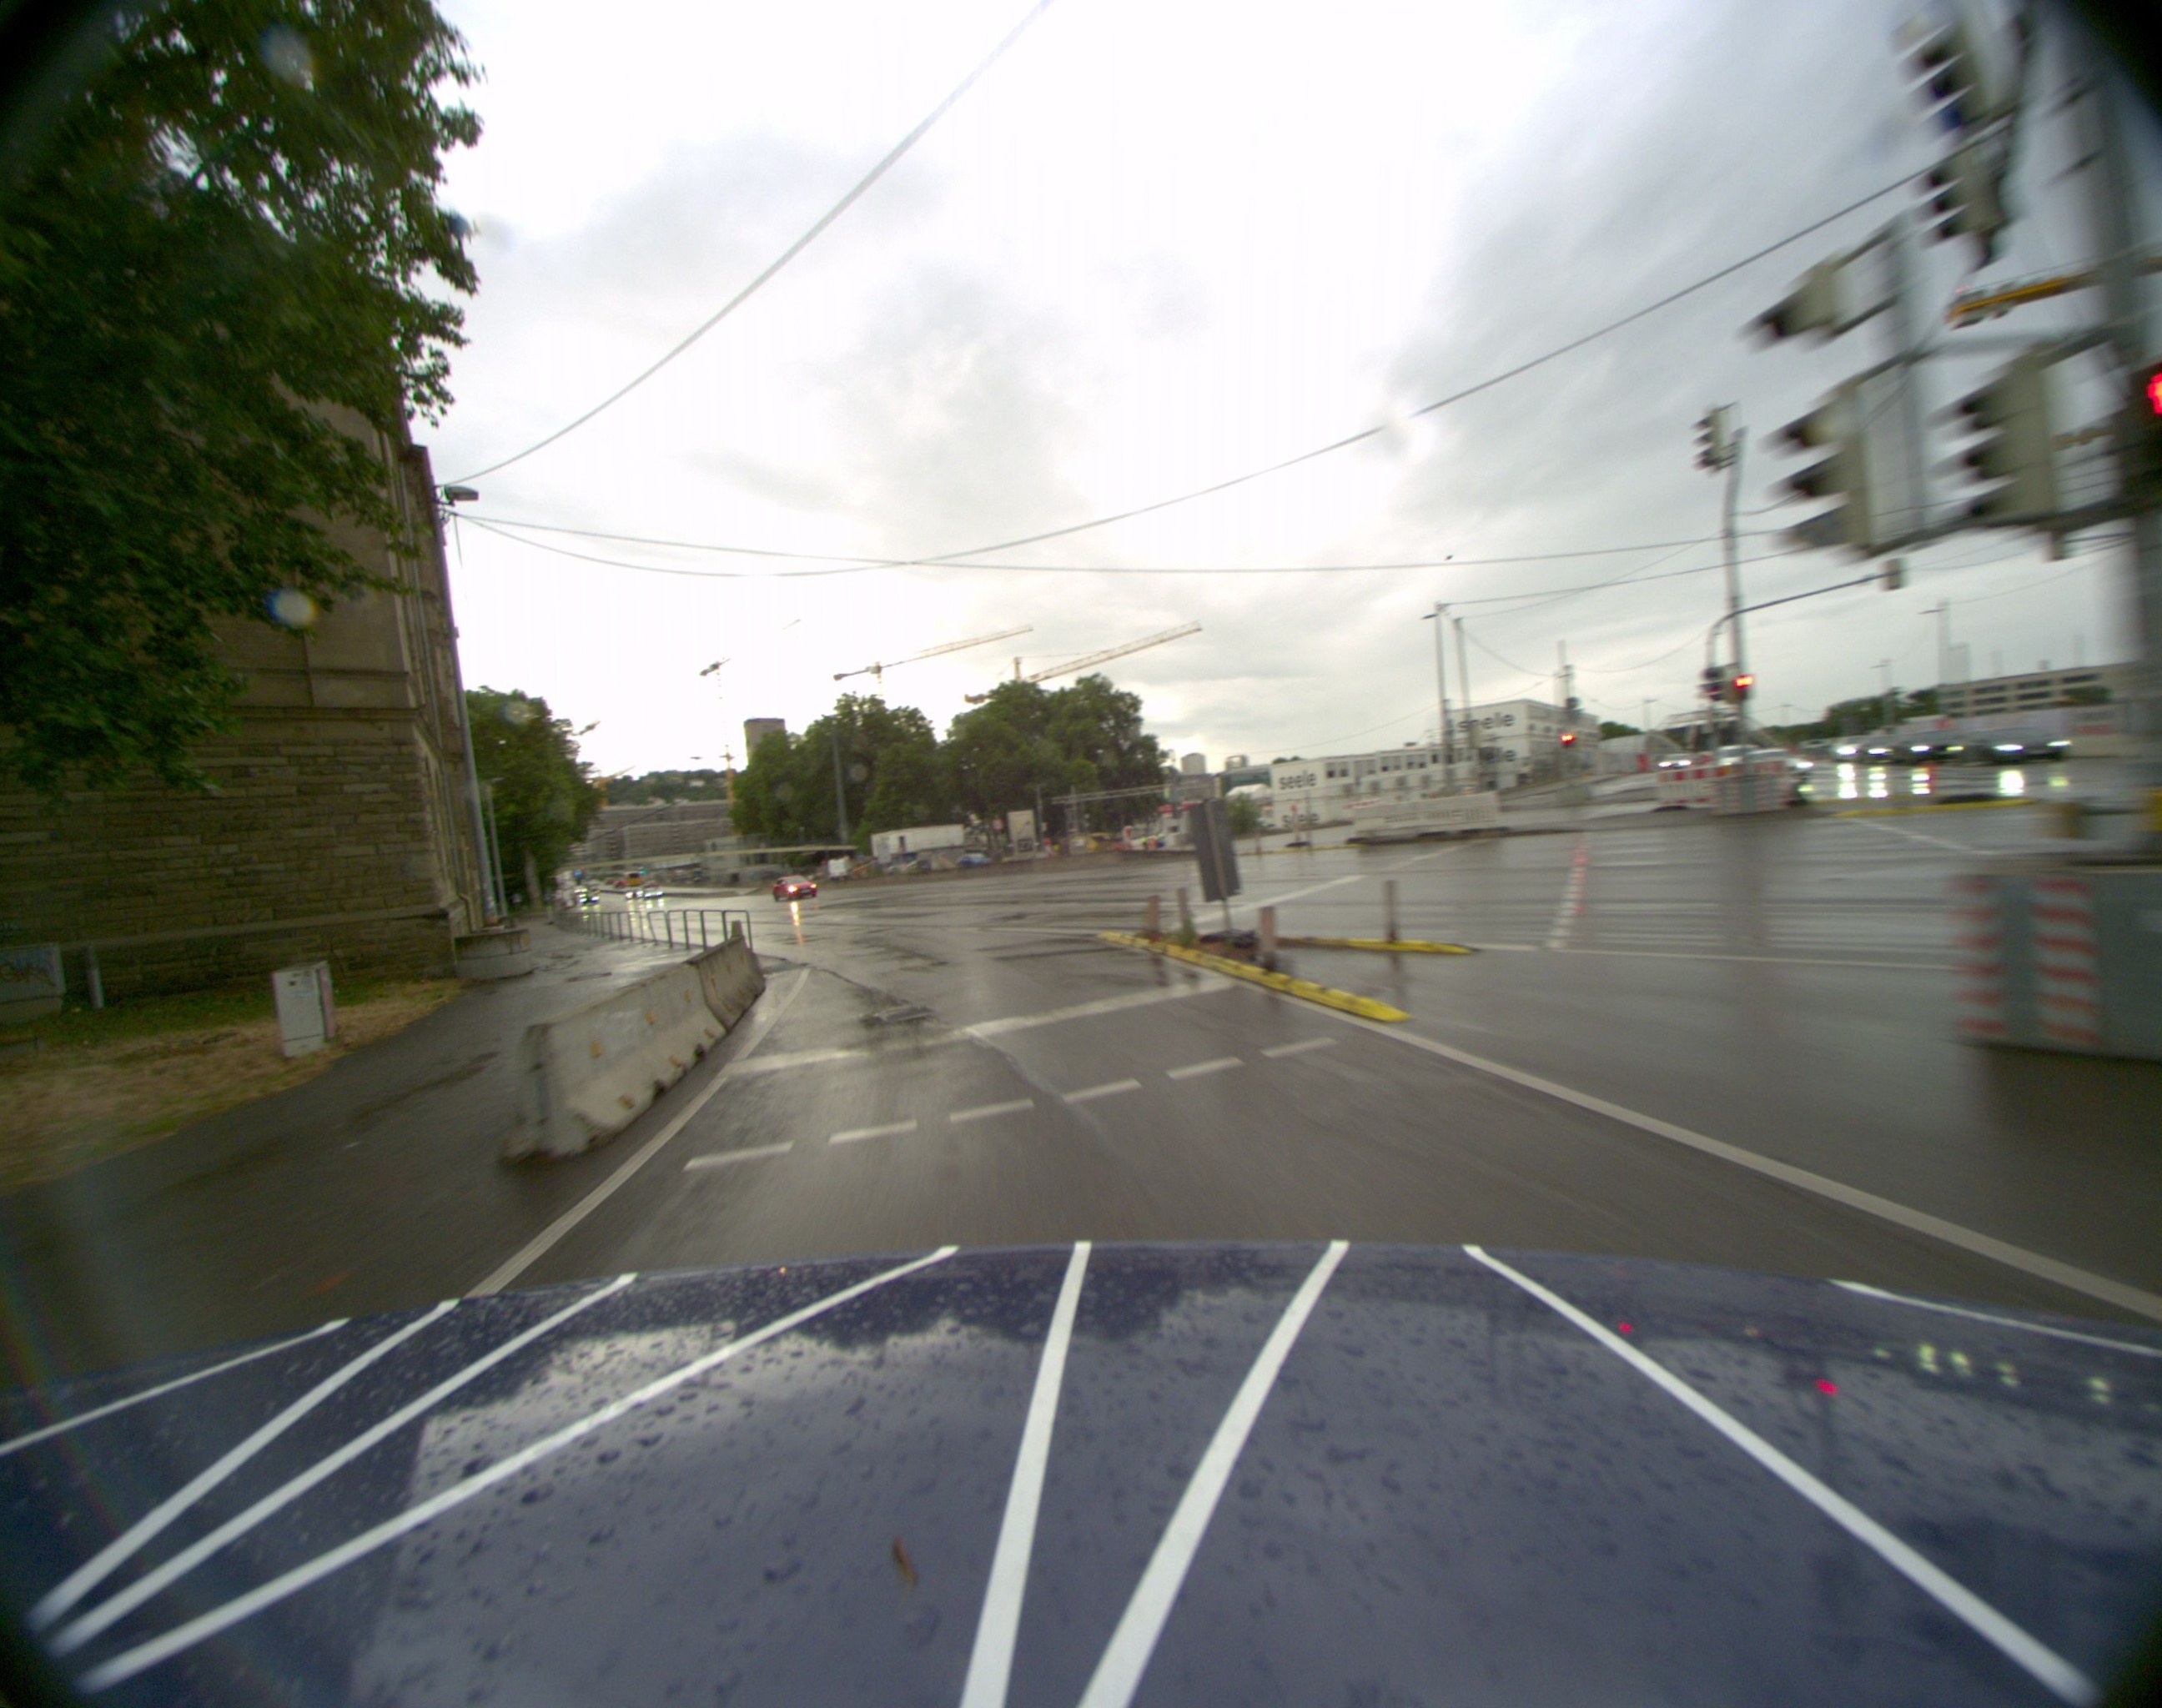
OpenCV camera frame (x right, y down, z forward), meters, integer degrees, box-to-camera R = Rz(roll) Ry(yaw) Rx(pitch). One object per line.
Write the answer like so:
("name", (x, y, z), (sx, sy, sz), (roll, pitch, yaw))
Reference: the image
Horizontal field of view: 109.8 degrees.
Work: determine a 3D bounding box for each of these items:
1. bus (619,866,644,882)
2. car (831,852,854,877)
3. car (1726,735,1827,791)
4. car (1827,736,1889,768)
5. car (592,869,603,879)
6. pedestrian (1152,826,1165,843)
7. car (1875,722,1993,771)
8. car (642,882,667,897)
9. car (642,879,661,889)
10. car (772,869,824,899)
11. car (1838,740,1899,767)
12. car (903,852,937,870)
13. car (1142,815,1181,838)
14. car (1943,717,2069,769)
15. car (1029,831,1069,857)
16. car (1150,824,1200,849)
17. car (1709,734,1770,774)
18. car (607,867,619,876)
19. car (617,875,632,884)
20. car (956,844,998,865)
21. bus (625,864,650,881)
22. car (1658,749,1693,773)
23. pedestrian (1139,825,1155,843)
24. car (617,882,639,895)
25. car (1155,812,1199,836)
("bus", (-103.640, 4.620, 175.112), (3.244, 3.040, 8.932), (-11, 4, -38))
("car", (-28.533, 1.208, 91.127), (2.081, 2.722, 4.587), (-7, 2, -14))
("car", (30.035, -3.851, 32.987), (1.996, 2.002, 4.428), (-6, 2, 27))
("car", (46.710, -6.128, 45.763), (1.995, 1.549, 4.531), (-5, 2, 39))
("car", (-122.241, 5.038, 191.938), (2.002, 2.002, 3.991), (-8, 2, -35))
("pedestrian", (6.342, -1.600, 62.057), (0.744, 1.345, 0.838), (-6, 2, 15))
("car", (38.344, -4.772, 34.326), (1.996, 1.708, 4.428), (-6, 2, 27))
("car", (-57.216, 4.773, 101.936), (1.991, 1.567, 4.429), (-8, 2, -40))
("car", (-77.586, 5.454, 137.292), (1.844, 1.567, 4.429), (-8, 2, -43))
("car", (-17.543, 1.889, 46.956), (1.693, 1.543, 3.991), (-8, 2, -39))
("car", (42.252, -5.393, 40.835), (1.646, 1.172, 4.295), (-4, 3, 38))
("car", (-16.687, 0.731, 78.668), (1.844, 1.481, 4.430), (-8, 2, -32))
("car", (9.713, -3.314, 91.609), (3.991, 2.371, 2.002), (-6, 2, 25))
("car", (35.514, -4.212, 29.299), (1.857, 1.557, 3.806), (-6, 2, 31))
("car", (-3.446, -1.017, 81.507), (2.003, 2.371, 3.991), (-8, 2, -38))
("car", (7.551, -1.414, 60.743), (1.995, 1.500, 4.005), (-6, 3, 38))
("car", (36.114, -5.450, 41.772), (1.995, 1.762, 4.363), (-6, 2, 36))
("car", (-117.019, 4.454, 189.948), (2.002, 2.002, 3.991), (-8, 2, -35))
("car", (-95.878, 5.379, 159.513), (1.844, 1.567, 4.429), (-8, 2, -40))
("car", (-9.279, 0.021, 67.523), (1.844, 1.481, 4.430), (-8, 2, -34))
("bus", (-98.240, 4.156, 168.235), (3.276, 2.925, 8.932), (-11, 4, -38))
("car", (51.218, -8.032, 65.436), (1.995, 1.762, 4.363), (-5, 2, 41))
("pedestrian", (5.357, -1.613, 61.659), (0.746, 1.345, 0.836), (-8, 2, -33))
("car", (-65.700, 4.960, 110.203), (1.991, 1.567, 4.429), (-8, 2, -40))
("car", (11.790, -3.702, 93.422), (4.941, 2.371, 2.001), (-6, 2, 15))
